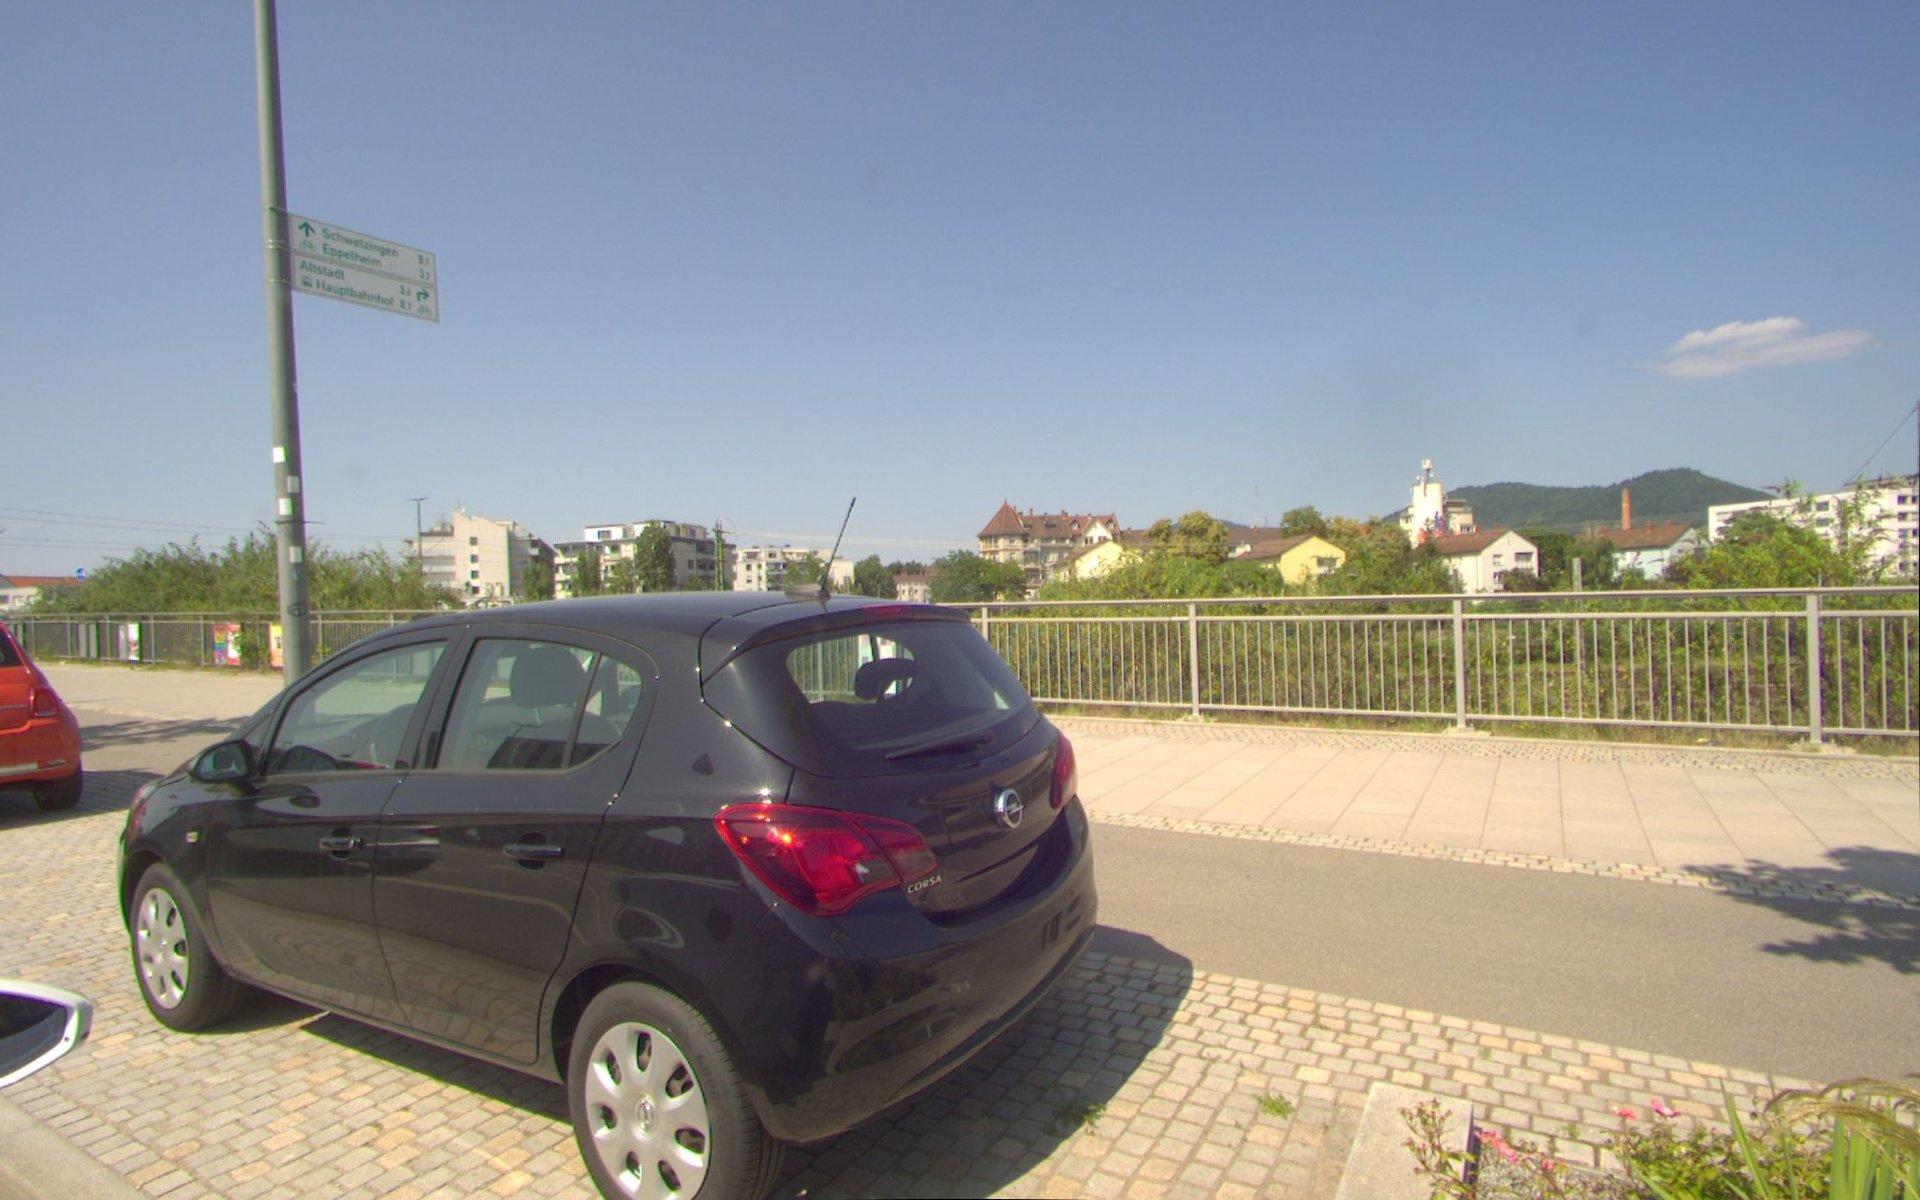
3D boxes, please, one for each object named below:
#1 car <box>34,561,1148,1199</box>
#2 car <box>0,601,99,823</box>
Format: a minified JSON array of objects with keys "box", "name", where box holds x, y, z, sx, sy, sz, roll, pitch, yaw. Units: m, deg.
[{"box":[-1.501,0.674,3.600,3.942,1.445,1.657,-1,1,32],"name":"car"},{"box":[-8.164,0.805,7.594,3.305,1.517,1.605,-1,2,34],"name":"car"}]
